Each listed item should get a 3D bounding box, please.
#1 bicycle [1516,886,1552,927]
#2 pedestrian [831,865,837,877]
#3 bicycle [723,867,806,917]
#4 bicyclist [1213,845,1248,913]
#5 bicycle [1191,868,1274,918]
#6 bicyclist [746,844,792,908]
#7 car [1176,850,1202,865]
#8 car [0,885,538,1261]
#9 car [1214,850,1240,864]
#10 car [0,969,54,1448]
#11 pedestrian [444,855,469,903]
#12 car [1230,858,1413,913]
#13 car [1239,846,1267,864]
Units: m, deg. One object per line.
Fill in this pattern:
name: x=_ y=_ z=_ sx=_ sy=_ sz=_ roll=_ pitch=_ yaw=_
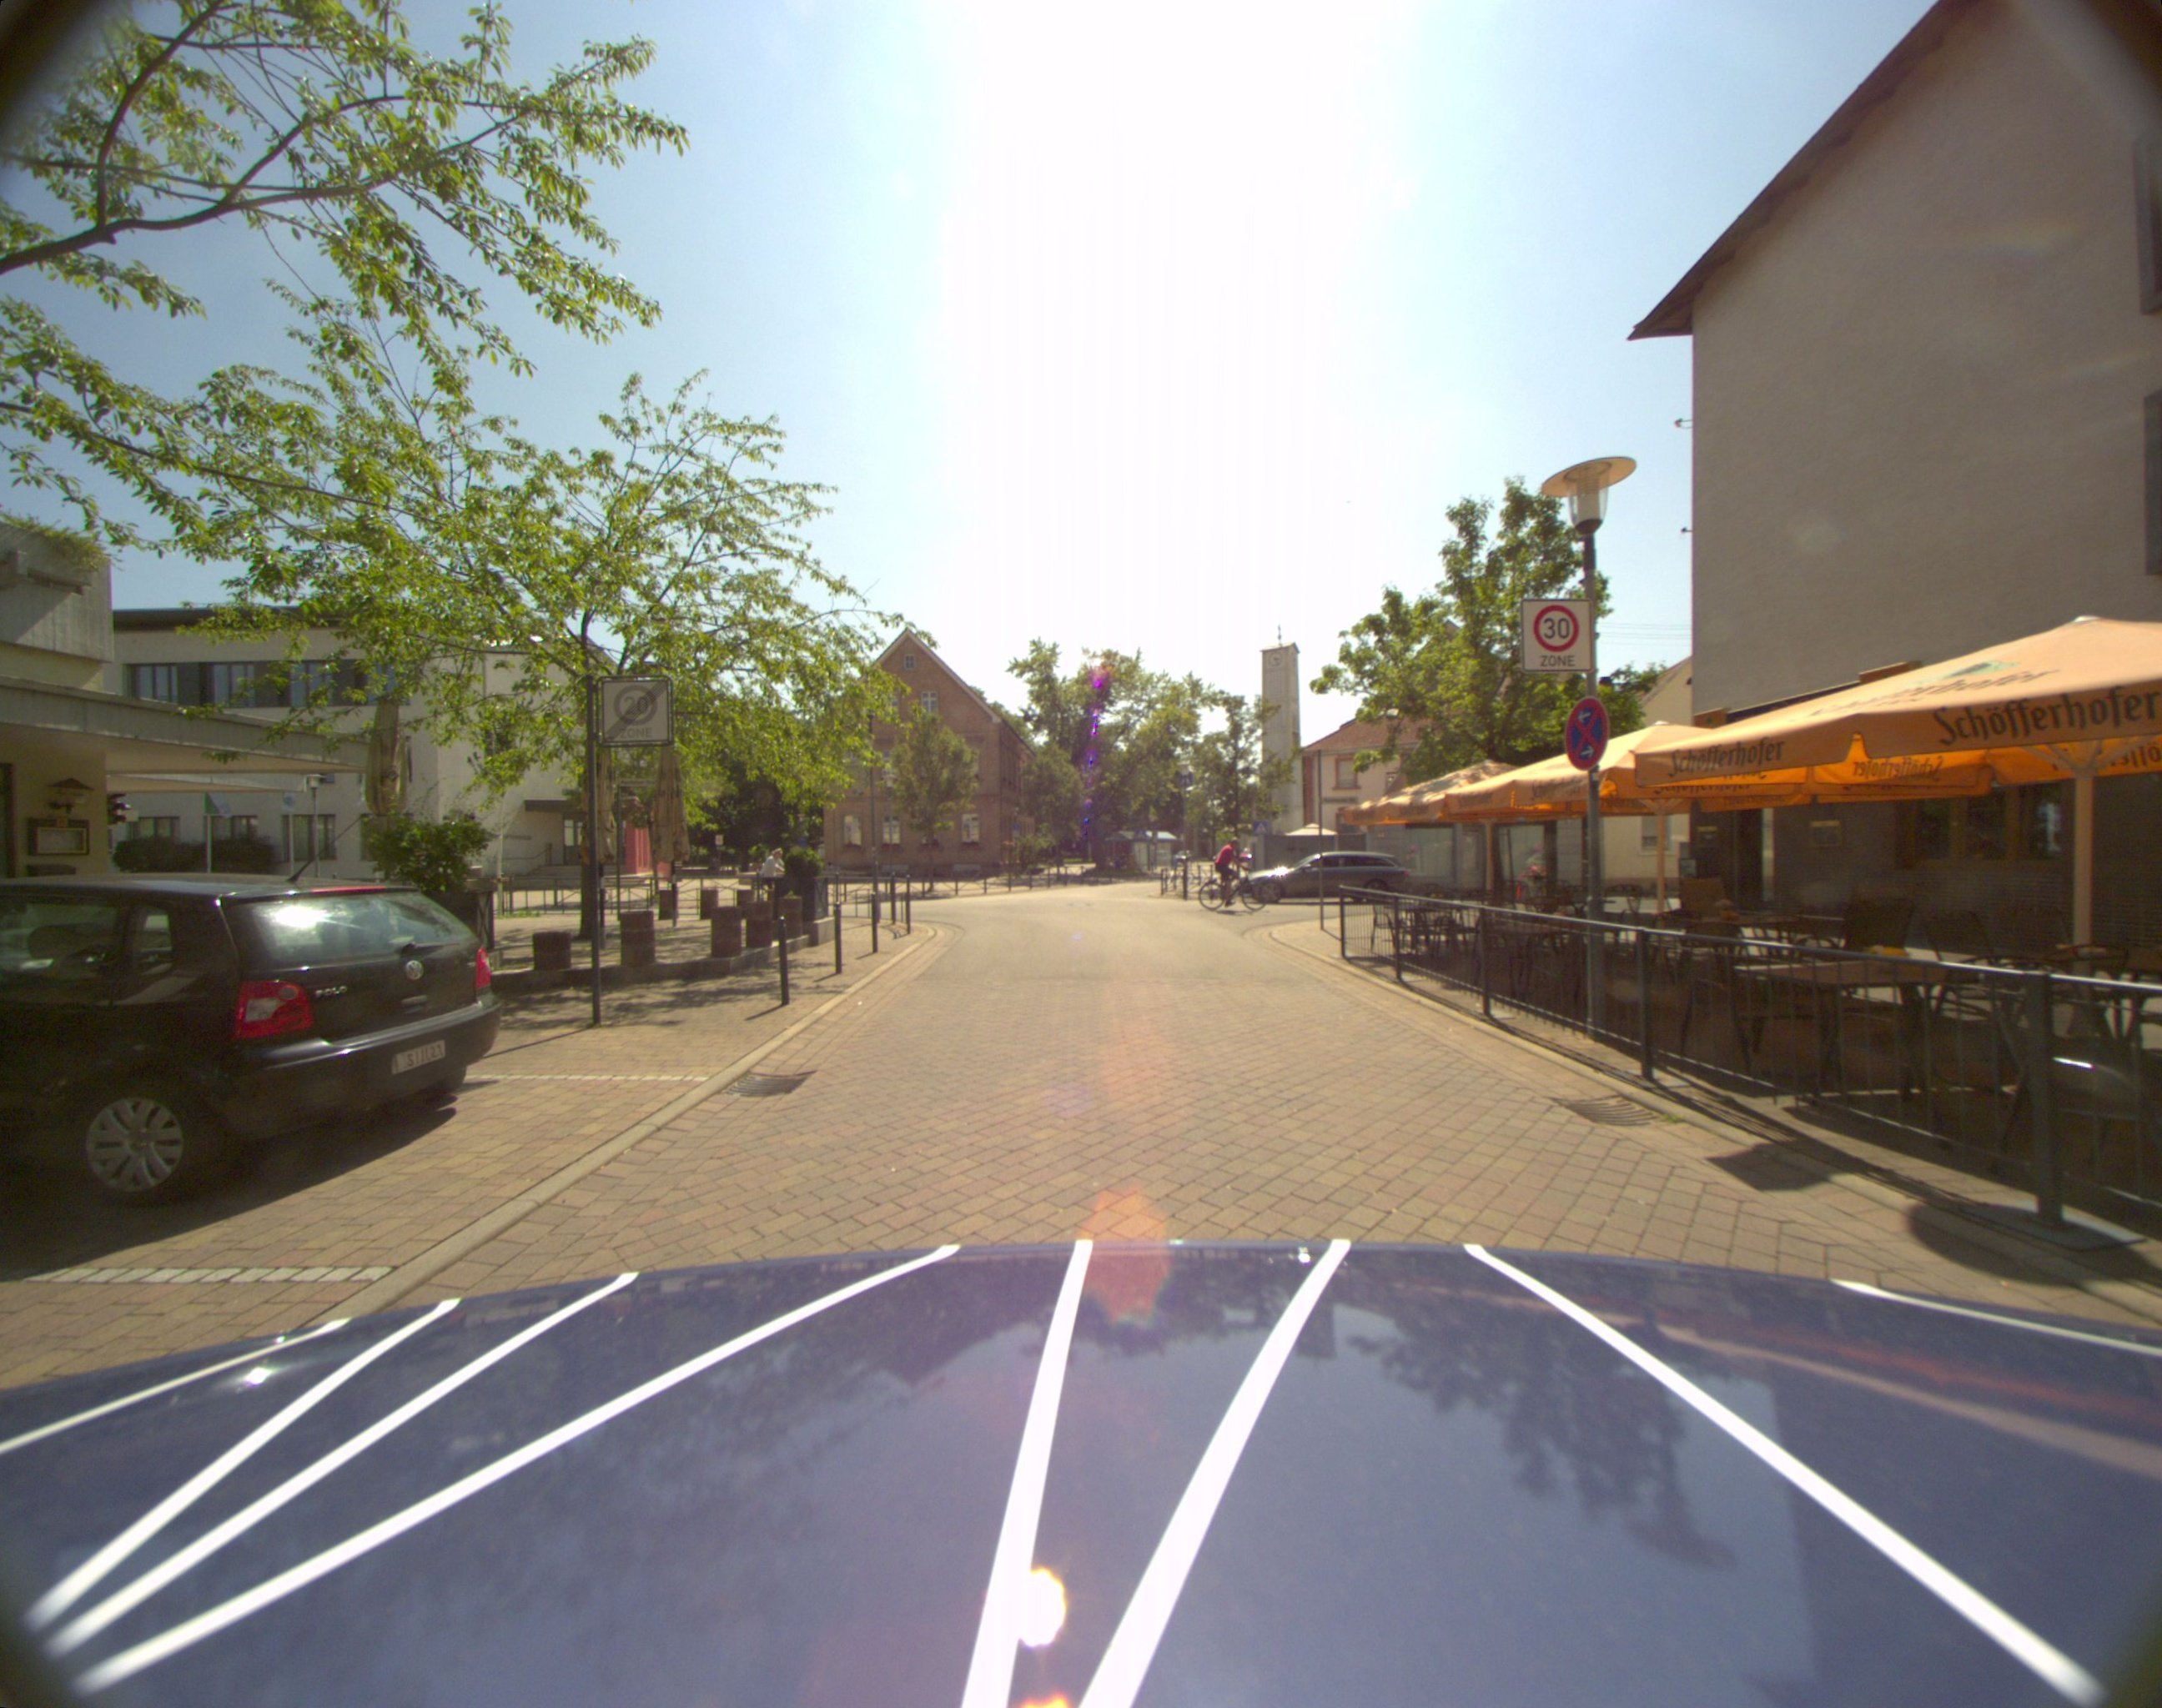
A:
bicycle: x=10.513 y=1.193 z=17.625 sx=0.463 sy=0.891 sz=1.417 roll=-2 pitch=-2 yaw=41
pedestrian: x=-15.037 y=1.008 z=46.241 sx=0.289 sy=0.728 sz=0.357 roll=0 pitch=0 yaw=-13
bicycle: x=-8.013 y=0.948 z=19.281 sx=1.798 sy=1.183 sz=0.690 roll=1 pitch=4 yaw=0
bicyclist: x=3.847 y=0.622 z=19.546 sx=0.759 sy=1.707 sz=0.703 roll=0 pitch=1 yaw=1
bicycle: x=3.873 y=0.989 z=19.537 sx=1.969 sy=1.183 sz=0.738 roll=1 pitch=4 yaw=0
bicyclist: x=-7.914 y=0.543 z=19.296 sx=0.877 sy=1.572 sz=0.703 roll=0 pitch=1 yaw=1
car: x=11.848 y=0.372 z=83.352 sx=1.995 sy=1.607 sz=4.006 roll=0 pitch=0 yaw=20
car: x=-5.543 y=0.961 z=4.057 sx=3.969 sy=1.501 sz=1.772 roll=0 pitch=1 yaw=-2
car: x=15.637 y=0.340 z=81.403 sx=1.646 sy=1.459 sz=3.786 roll=-1 pitch=0 yaw=29
car: x=-5.281 y=1.035 z=1.463 sx=4.108 sy=1.423 sz=1.784 roll=1 pitch=0 yaw=-1
pedestrian: x=-21.332 y=0.836 z=25.956 sx=0.555 sy=1.609 sz=0.551 roll=1 pitch=1 yaw=38
car: x=6.990 y=0.901 z=22.537 sx=4.839 sy=1.472 sz=1.916 roll=1 pitch=0 yaw=3
car: x=18.248 y=0.114 z=80.611 sx=1.777 sy=1.783 sz=4.008 roll=-1 pitch=0 yaw=29
